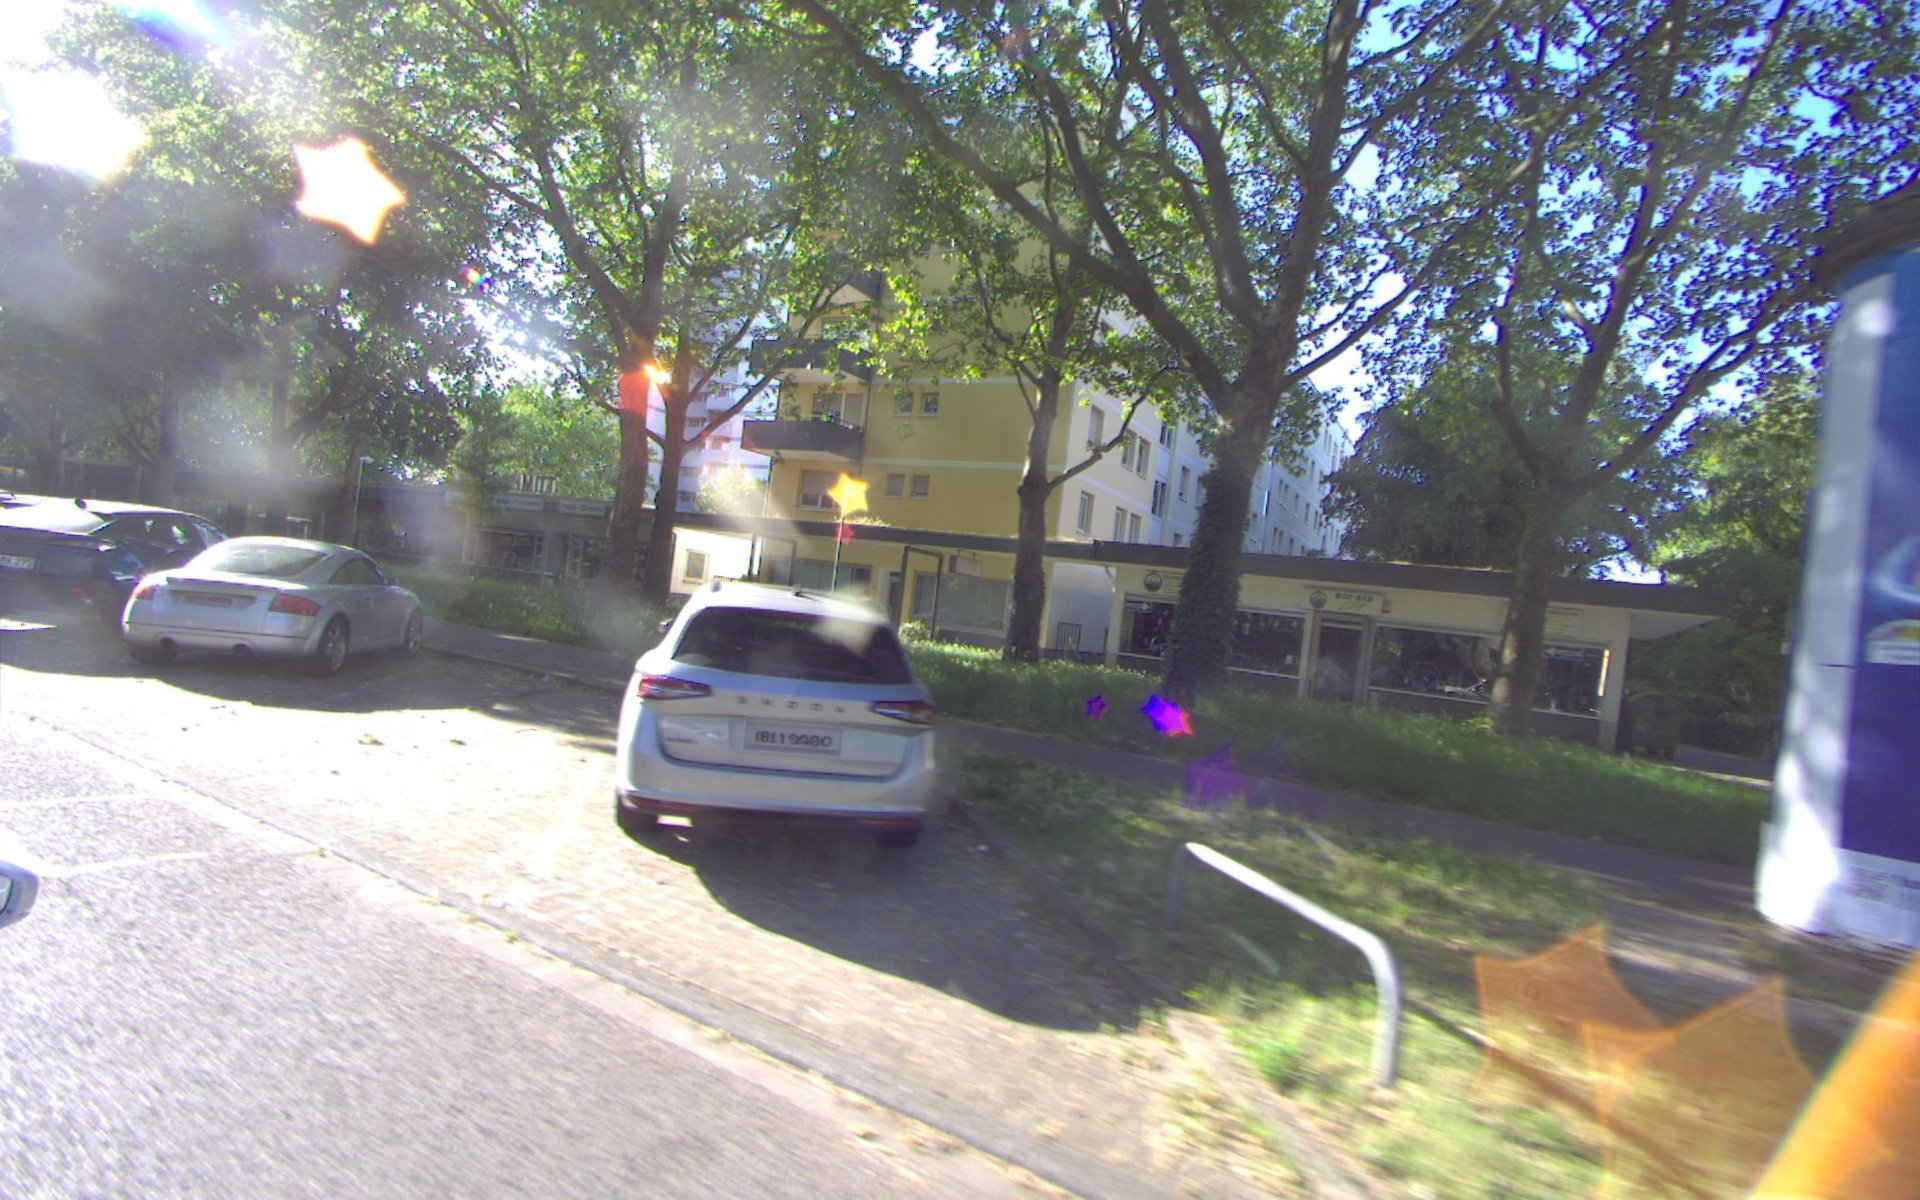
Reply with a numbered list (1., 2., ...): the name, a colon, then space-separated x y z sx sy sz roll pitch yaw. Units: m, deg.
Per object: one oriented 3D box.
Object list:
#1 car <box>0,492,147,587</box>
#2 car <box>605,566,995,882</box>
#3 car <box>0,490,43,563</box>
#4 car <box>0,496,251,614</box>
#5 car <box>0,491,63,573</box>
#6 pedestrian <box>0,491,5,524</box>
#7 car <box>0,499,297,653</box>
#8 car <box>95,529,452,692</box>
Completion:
1. car: -16.000 -1.045 16.801 1.888 1.468 4.450 5 0 -12
2. car: -1.213 0.608 7.318 1.826 1.462 4.483 6 0 -11
3. car: -22.209 -1.757 21.348 1.826 1.589 4.615 7 -1 -11
4. car: -13.007 -0.671 15.238 1.887 1.468 4.453 5 0 -10
5. car: -19.397 -1.400 18.777 1.826 1.590 4.612 6 0 -13
6. pedestrian: -60.000 -5.800 62.283 0.738 2.038 0.820 7 0 -8
7. car: -10.079 -0.332 12.183 1.826 1.442 4.319 6 0 -11
8. car: -7.344 0.059 11.349 1.664 1.314 4.319 6 0 -11
